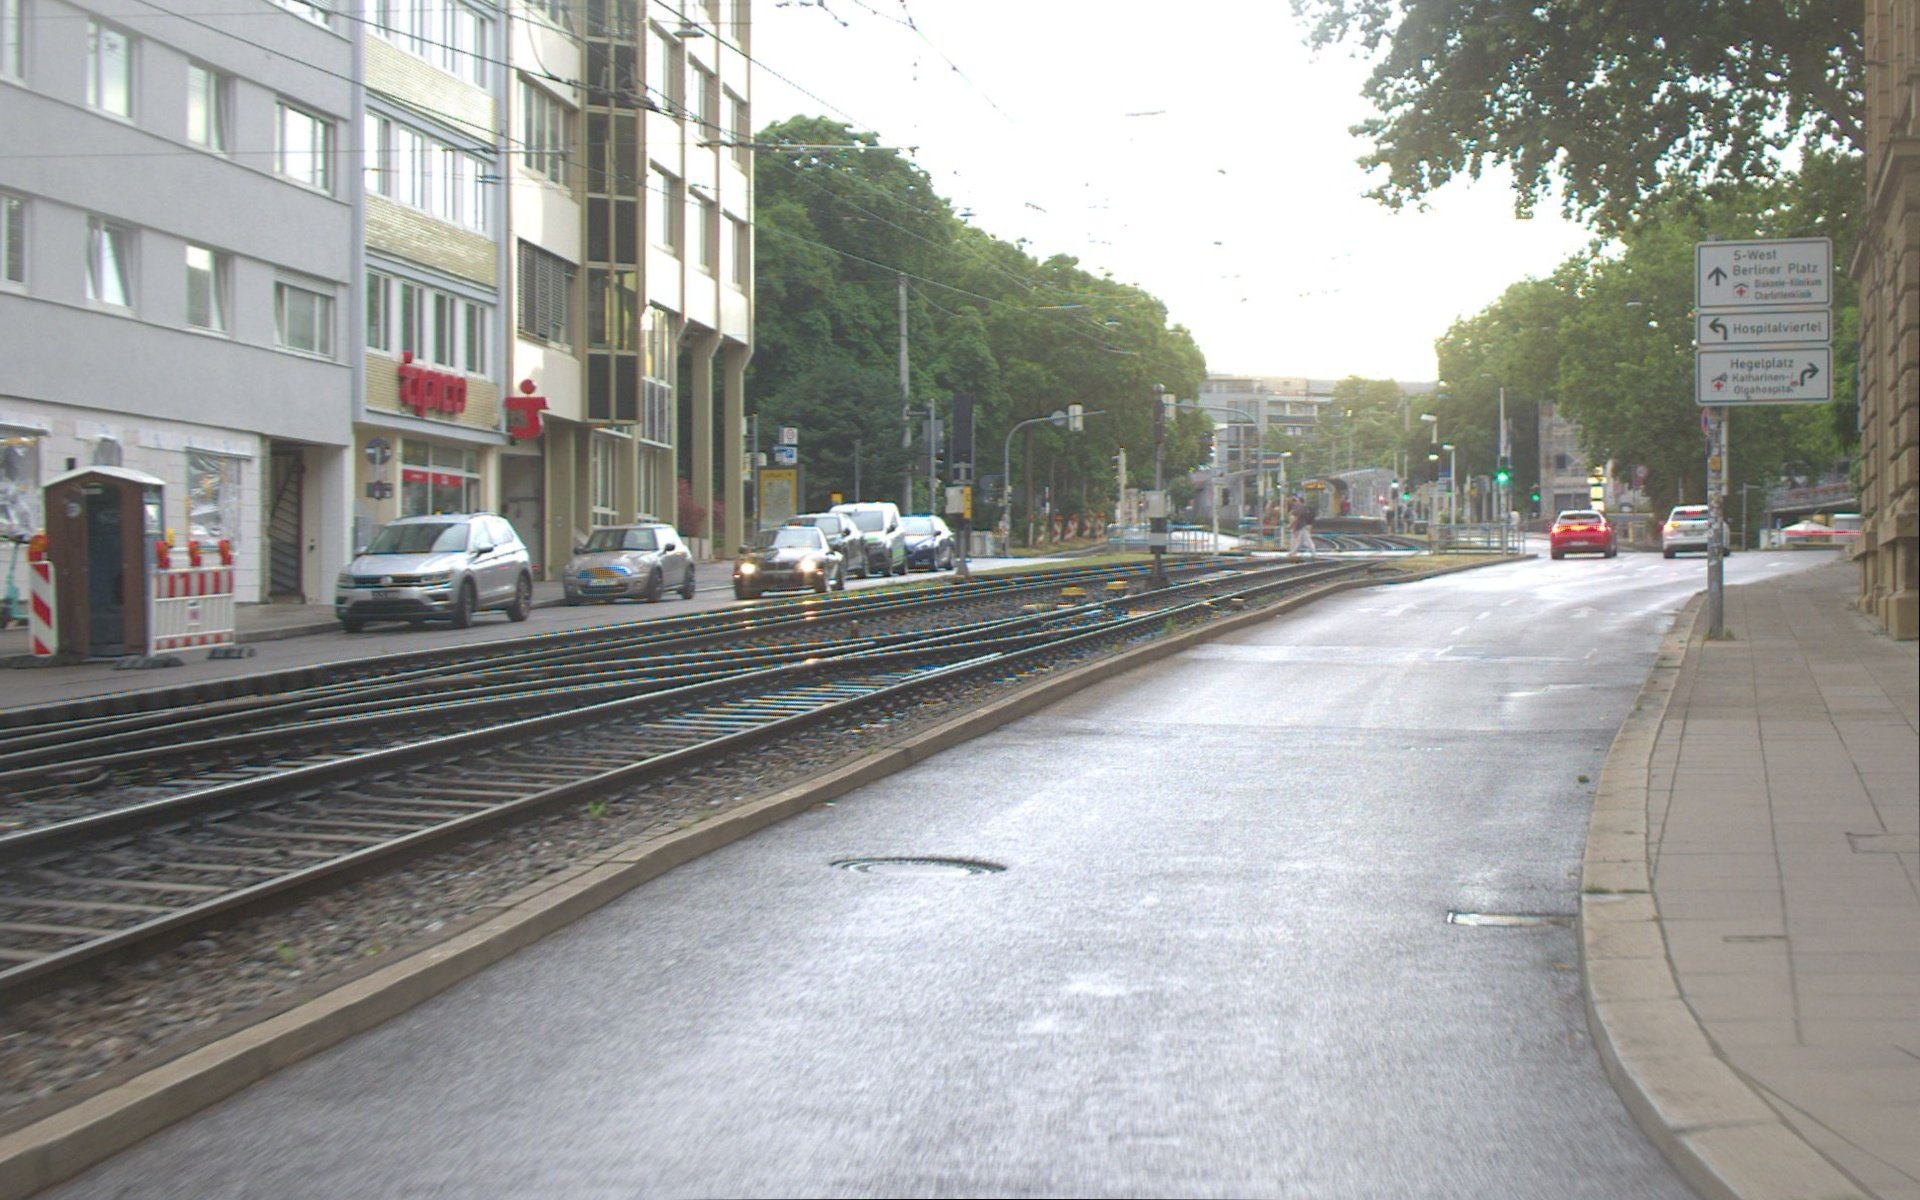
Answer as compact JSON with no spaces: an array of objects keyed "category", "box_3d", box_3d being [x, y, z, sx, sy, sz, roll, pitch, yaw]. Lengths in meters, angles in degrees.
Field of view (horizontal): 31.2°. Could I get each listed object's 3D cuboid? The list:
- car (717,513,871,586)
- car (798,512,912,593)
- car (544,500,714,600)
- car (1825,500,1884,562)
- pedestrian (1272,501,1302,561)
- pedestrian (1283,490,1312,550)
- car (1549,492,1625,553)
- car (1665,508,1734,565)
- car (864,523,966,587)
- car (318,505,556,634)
[{"category":"car","box_3d":[-2.963,-0.885,62.370,1.994,1.251,4.694,-1,0,7]},{"category":"car","box_3d":[-2.529,-1.139,83.776,1.994,1.844,4.694,2,1,7]},{"category":"car","box_3d":[-5.898,-0.881,61.799,1.994,1.668,4.694,2,1,7]},{"category":"car","box_3d":[47.663,-3.656,183.252,2.546,3.123,5.029,2,0,10]},{"category":"pedestrian","box_3d":[9.839,-2.062,103.481,0.638,1.781,0.811,2,0,-13]},{"category":"pedestrian","box_3d":[10.062,-2.386,102.602,0.639,1.781,0.811,2,0,-8]},{"category":"car","box_3d":[18.393,-2.257,100.771,1.982,1.634,4.414,2,1,13]},{"category":"car","box_3d":[20.817,-1.797,96.645,1.680,1.571,4.250,0,1,15]},{"category":"car","box_3d":[-1.147,-1.152,89.863,1.994,1.576,4.548,2,1,7]},{"category":"car","box_3d":[-7.526,-0.489,49.950,1.994,1.668,4.694,2,2,10]}]
